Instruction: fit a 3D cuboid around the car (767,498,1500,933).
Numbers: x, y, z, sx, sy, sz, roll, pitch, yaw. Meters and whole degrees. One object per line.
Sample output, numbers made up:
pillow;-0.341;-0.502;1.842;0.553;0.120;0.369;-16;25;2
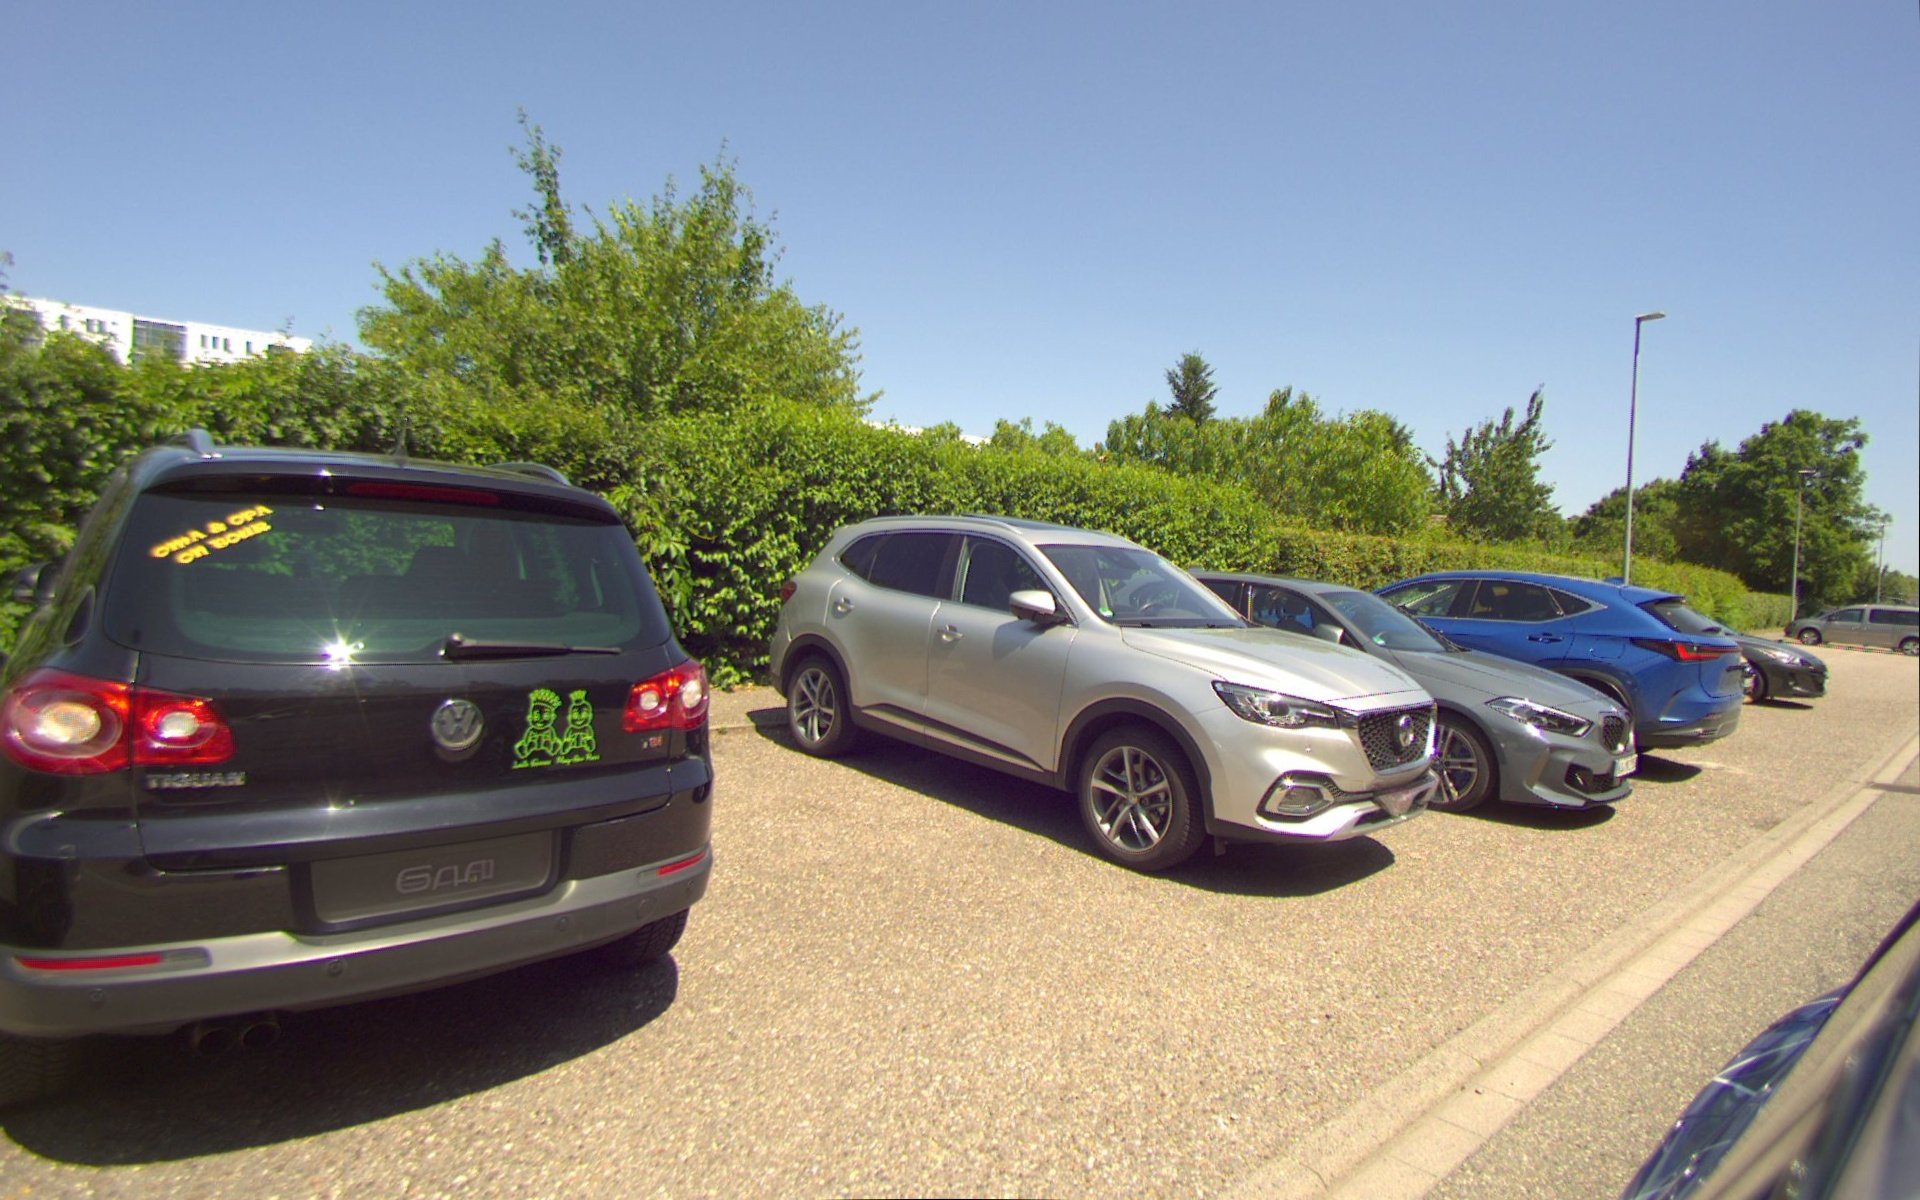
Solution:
car;0.710;0.326;6.225;1.746;1.661;4.168;1;5;-42

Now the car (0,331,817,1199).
car;-2.383;0.233;3.795;1.735;1.706;3.983;1;4;-40

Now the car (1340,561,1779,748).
car;6.811;0.482;11.881;1.620;1.532;4.037;1;5;-40

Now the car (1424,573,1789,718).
car;9.077;0.525;14.506;1.620;1.463;4.037;1;5;-40

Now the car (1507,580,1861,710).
car;11.391;0.602;16.197;1.620;1.434;4.253;1;5;-40

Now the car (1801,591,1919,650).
car;35.434;0.811;38.904;1.668;1.872;4.487;1;5;-44

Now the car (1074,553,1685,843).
car;2.989;0.511;7.941;1.650;1.425;4.036;1;5;-41

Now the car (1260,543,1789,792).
car;5.178;0.442;9.775;1.644;1.661;4.037;1;5;-40
